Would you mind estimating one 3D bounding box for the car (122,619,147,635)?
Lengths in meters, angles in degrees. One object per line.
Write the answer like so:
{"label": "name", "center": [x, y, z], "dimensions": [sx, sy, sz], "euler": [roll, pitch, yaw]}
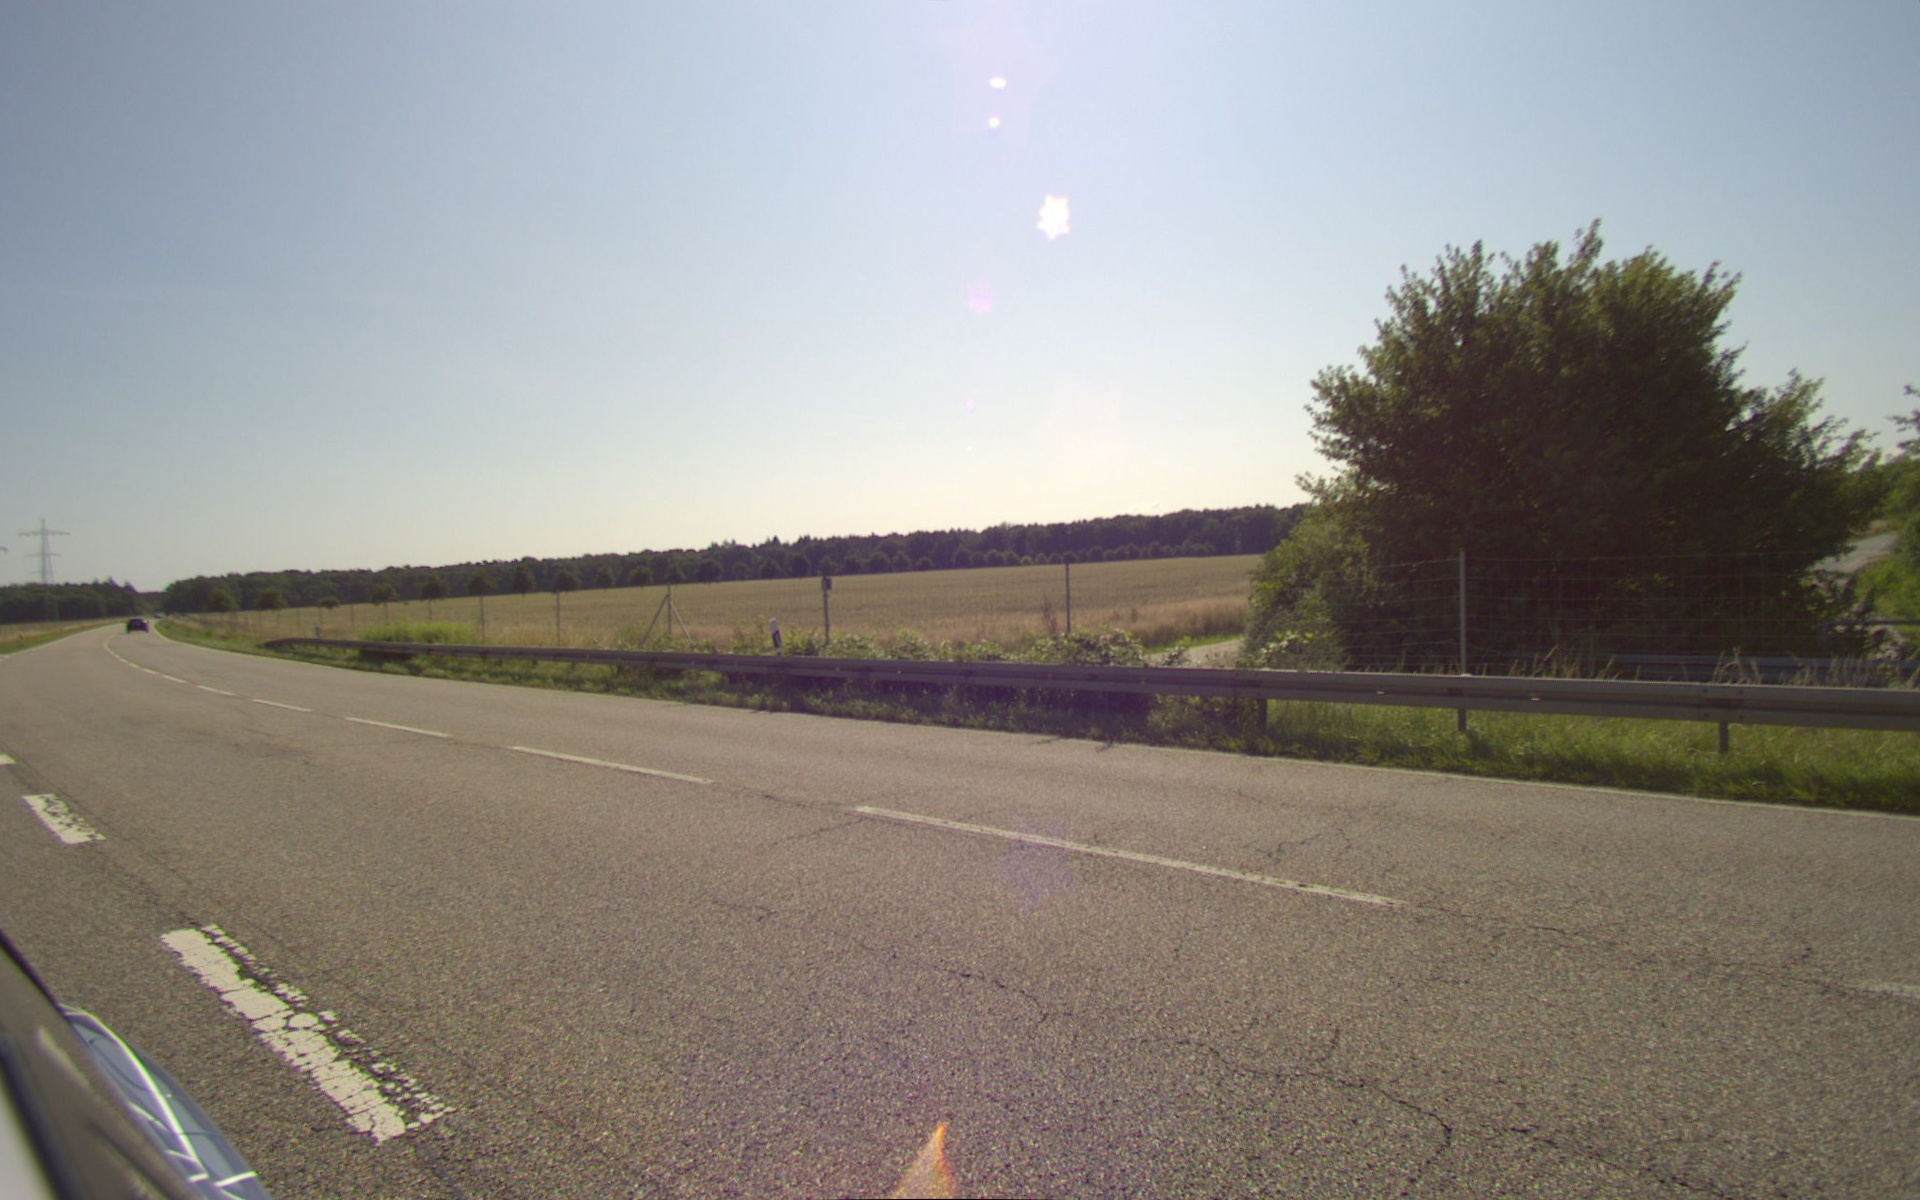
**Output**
{"label": "car", "center": [-84.139, 2.743, 103.172], "dimensions": [1.806, 1.519, 4.168], "euler": [-3, 0, -41]}
